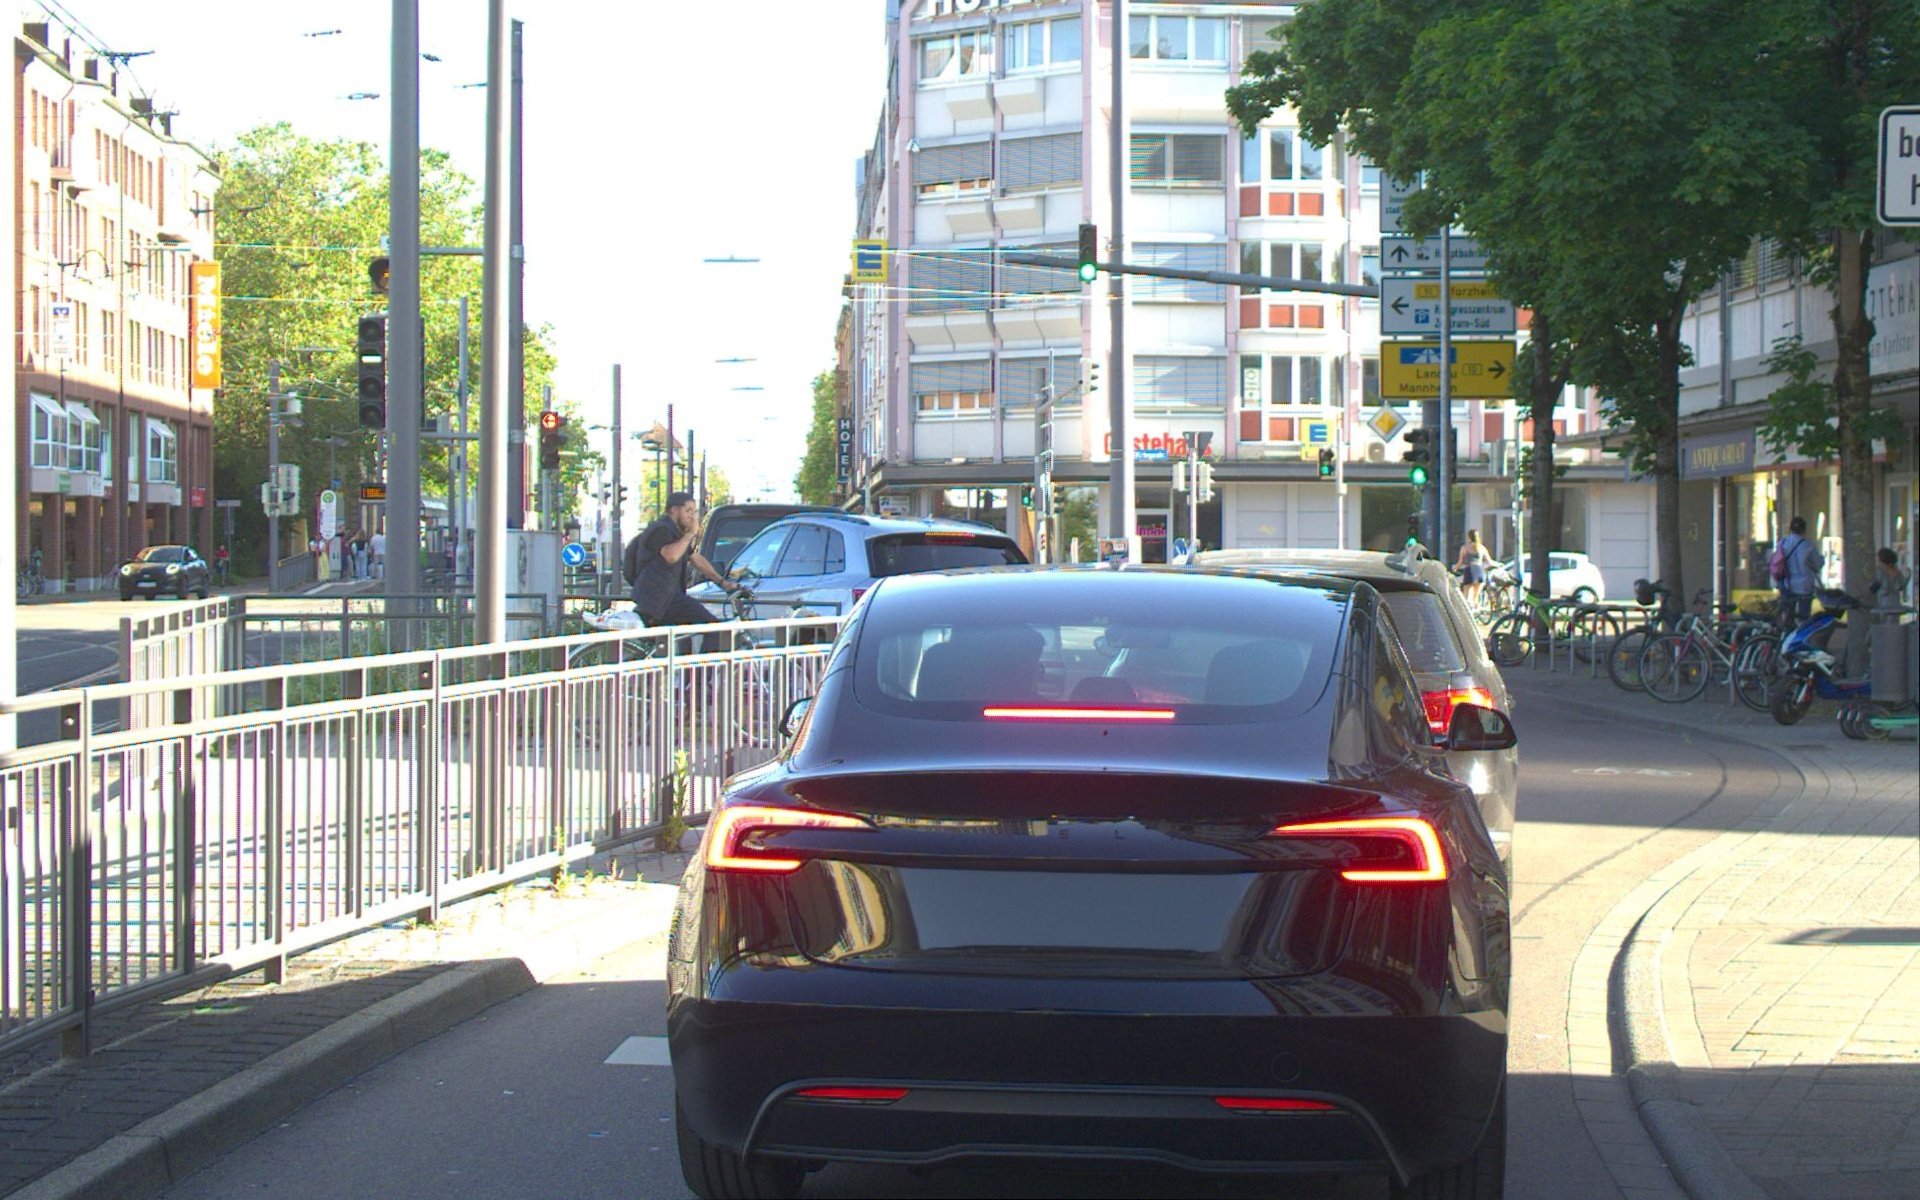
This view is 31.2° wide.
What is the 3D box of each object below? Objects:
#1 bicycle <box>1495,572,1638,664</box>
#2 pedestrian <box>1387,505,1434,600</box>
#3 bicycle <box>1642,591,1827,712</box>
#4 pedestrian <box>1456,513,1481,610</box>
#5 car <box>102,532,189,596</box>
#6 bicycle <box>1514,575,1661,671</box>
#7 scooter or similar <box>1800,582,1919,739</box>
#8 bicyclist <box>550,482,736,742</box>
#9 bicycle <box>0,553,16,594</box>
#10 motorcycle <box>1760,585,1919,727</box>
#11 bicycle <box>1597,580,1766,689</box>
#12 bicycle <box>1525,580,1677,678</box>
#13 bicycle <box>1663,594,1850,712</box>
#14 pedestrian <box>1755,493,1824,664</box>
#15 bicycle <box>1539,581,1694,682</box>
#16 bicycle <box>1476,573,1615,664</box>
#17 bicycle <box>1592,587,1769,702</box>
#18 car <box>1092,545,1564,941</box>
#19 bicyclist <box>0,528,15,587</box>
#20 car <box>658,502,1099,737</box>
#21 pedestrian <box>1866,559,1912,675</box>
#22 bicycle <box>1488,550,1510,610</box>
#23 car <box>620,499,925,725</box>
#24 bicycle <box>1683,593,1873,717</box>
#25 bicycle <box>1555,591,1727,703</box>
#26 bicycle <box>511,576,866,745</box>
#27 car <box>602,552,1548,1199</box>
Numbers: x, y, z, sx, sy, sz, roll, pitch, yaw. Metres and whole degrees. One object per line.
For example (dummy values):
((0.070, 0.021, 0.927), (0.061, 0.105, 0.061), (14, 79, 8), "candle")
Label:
((7.298, 0.213, 41.387), (1.650, 1.095, 0.350), (0, 1, 1), "bicycle")
((7.936, -0.831, 60.627), (0.699, 1.656, 0.777), (1, 0, -1), "pedestrian")
((7.180, 0.478, 31.874), (1.649, 1.095, 0.350), (1, 0, -10), "bicycle")
((9.003, -0.683, 60.826), (0.402, 1.704, 0.527), (1, 0, 7), "pedestrian")
((-22.755, -0.999, 96.131), (1.697, 1.725, 3.707), (1, 1, -3), "car")
((7.361, 0.270, 40.341), (1.650, 1.095, 0.350), (1, 0, 1), "bicycle")
((7.556, 0.474, 27.190), (1.644, 1.211, 0.644), (1, 0, 30), "scooter or similar")
((-2.041, 0.068, 22.088), (0.758, 1.623, 0.978), (0, 1, -39), "bicyclist")
((-25.892, -0.711, 92.140), (0.529, 1.085, 2.224), (1, 1, 1), "bicycle")
((7.715, 0.473, 29.148), (1.707, 1.169, 0.541), (1, 0, -2), "motorcycle")
((7.418, 0.354, 35.349), (1.650, 1.095, 0.350), (1, 0, 1), "bicycle")
((7.329, 0.331, 39.328), (1.650, 1.095, 0.350), (1, 0, 1), "bicycle")
((7.285, 0.484, 31.450), (1.649, 1.057, 0.350), (1, 0, -10), "bicycle")
((9.846, -0.261, 40.804), (0.662, 2.007, 0.579), (1, 0, 2), "pedestrian")
((7.309, 0.344, 38.301), (1.650, 1.095, 0.350), (1, 0, 1), "bicycle")
((7.231, 0.223, 42.481), (1.650, 1.095, 0.350), (1, 0, 1), "bicycle")
((6.999, 0.435, 33.401), (1.649, 1.095, 0.350), (1, 0, -10), "bicycle")
((1.587, 0.504, 14.961), (1.751, 1.449, 3.999), (1, 1, 6), "car")
((-25.866, -1.139, 92.241), (0.784, 1.558, 0.746), (1, 0, 2), "bicyclist")
((-0.723, 0.118, 26.487), (1.883, 1.656, 4.159), (1, 1, -25), "car")
((10.879, 0.198, 40.260), (0.389, 1.339, 0.513), (1, 0, 2), "pedestrian")
((9.472, -0.349, 60.411), (0.332, 1.030, 1.256), (-2, 0, 8), "bicycle")
((-1.857, 0.077, 32.718), (1.993, 2.007, 4.001), (0, 1, -17), "car")
((7.382, 0.498, 31.028), (1.649, 1.095, 0.350), (1, 0, -10), "bicycle")
((6.786, 0.468, 34.265), (1.649, 1.095, 0.350), (1, 0, -10), "bicycle")
((-1.746, 0.384, 22.422), (2.329, 1.050, 0.631), (0, 1, -38), "bicycle")
((0.367, 0.626, 8.702), (1.829, 1.450, 3.999), (1, 1, 4), "car")
